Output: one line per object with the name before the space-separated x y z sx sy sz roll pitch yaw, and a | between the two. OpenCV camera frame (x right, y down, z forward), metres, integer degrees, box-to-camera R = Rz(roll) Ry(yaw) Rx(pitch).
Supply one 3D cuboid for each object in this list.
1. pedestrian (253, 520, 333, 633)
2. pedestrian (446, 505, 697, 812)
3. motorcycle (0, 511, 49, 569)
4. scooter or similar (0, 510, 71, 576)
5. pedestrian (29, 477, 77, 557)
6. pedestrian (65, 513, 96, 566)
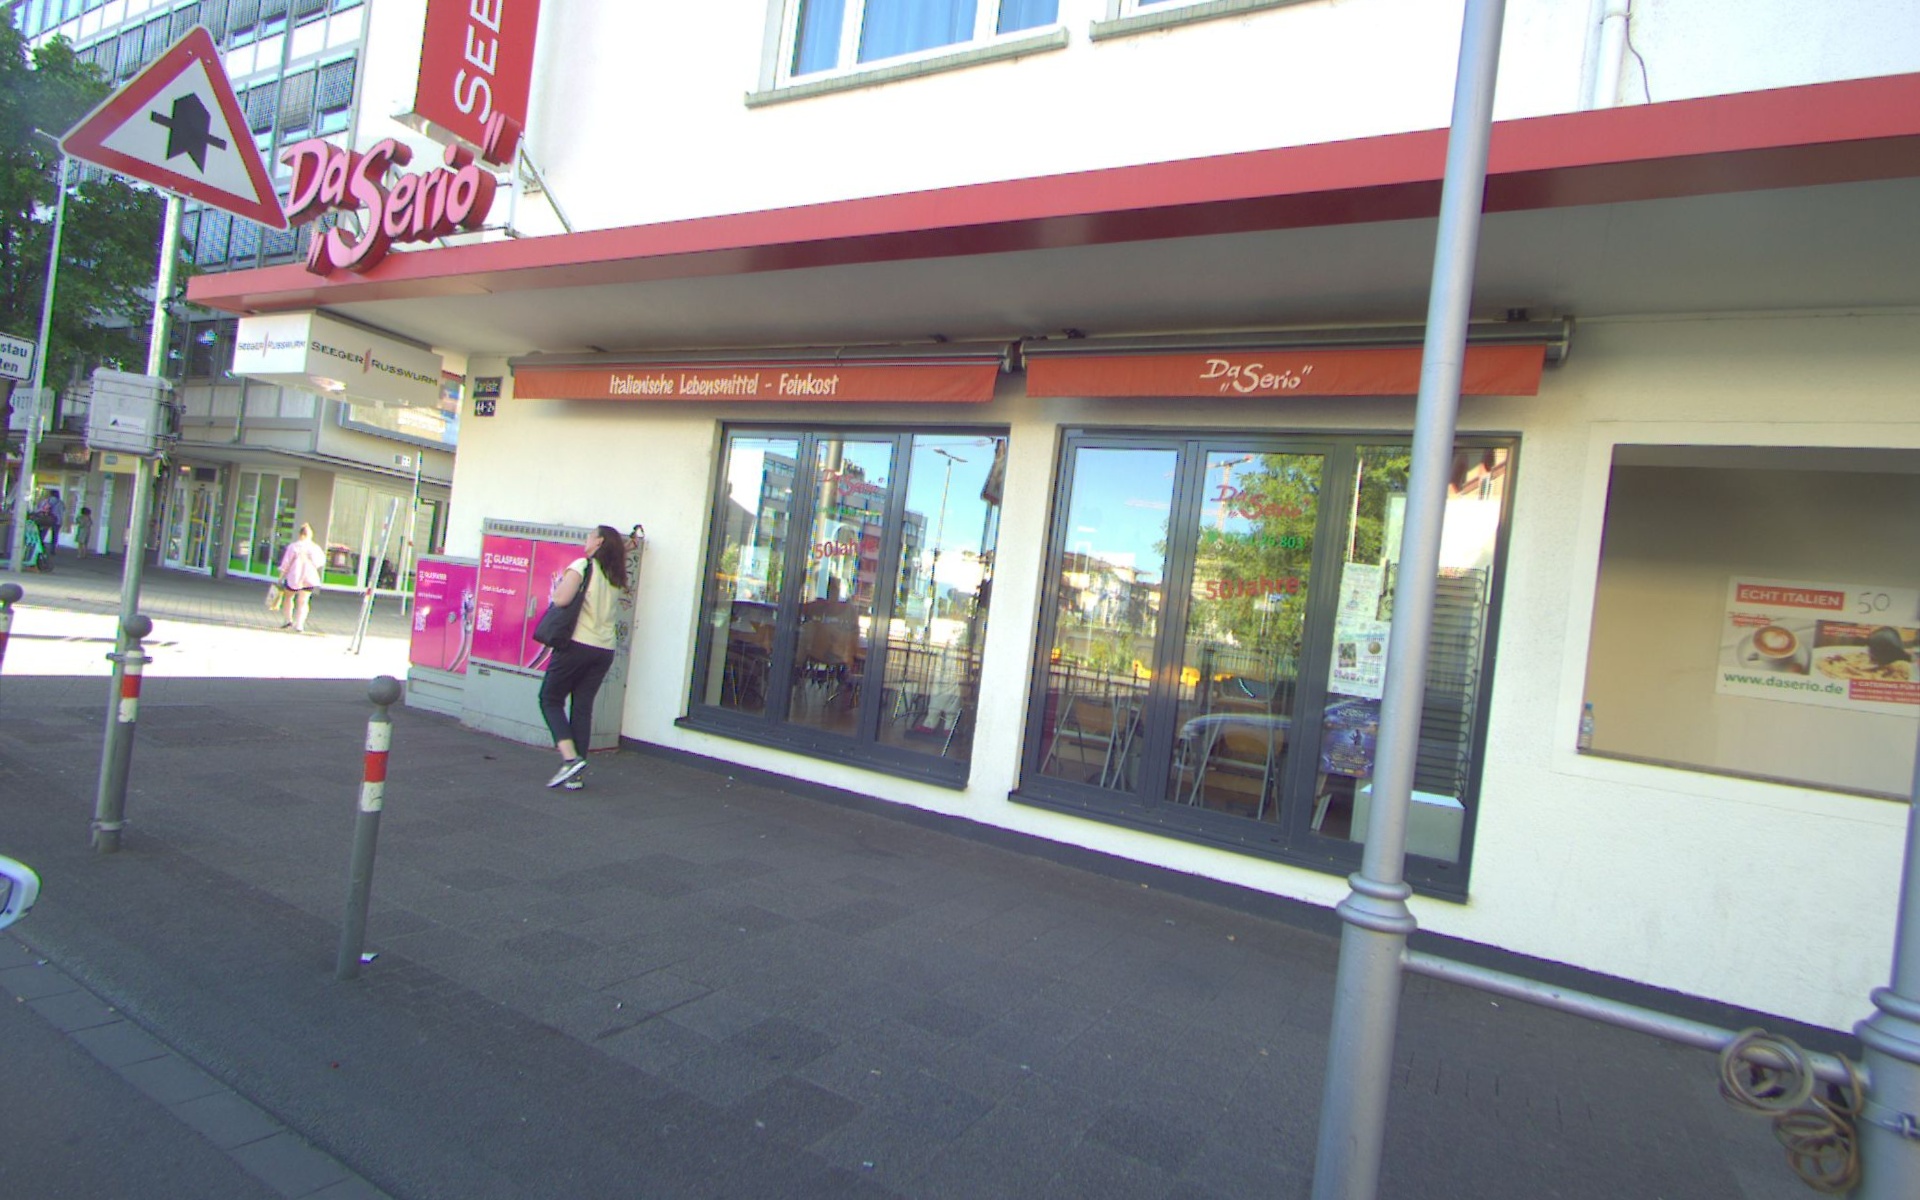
pedestrian | -10.839 -0.384 16.349 0.884 1.687 0.801 8 -1 -35
pedestrian | -2.535 0.359 6.607 1.021 1.773 0.916 7 0 30
motorcycle | -21.547 -1.409 22.393 0.532 1.186 1.711 7 -2 30
scooter or similar | -19.955 -1.235 21.186 1.628 1.229 0.640 8 -1 -29
pedestrian | -24.534 -2.236 27.223 0.570 2.037 0.663 6 -1 34
pedestrian | -24.080 -1.660 27.534 0.504 1.359 0.390 6 -1 34
